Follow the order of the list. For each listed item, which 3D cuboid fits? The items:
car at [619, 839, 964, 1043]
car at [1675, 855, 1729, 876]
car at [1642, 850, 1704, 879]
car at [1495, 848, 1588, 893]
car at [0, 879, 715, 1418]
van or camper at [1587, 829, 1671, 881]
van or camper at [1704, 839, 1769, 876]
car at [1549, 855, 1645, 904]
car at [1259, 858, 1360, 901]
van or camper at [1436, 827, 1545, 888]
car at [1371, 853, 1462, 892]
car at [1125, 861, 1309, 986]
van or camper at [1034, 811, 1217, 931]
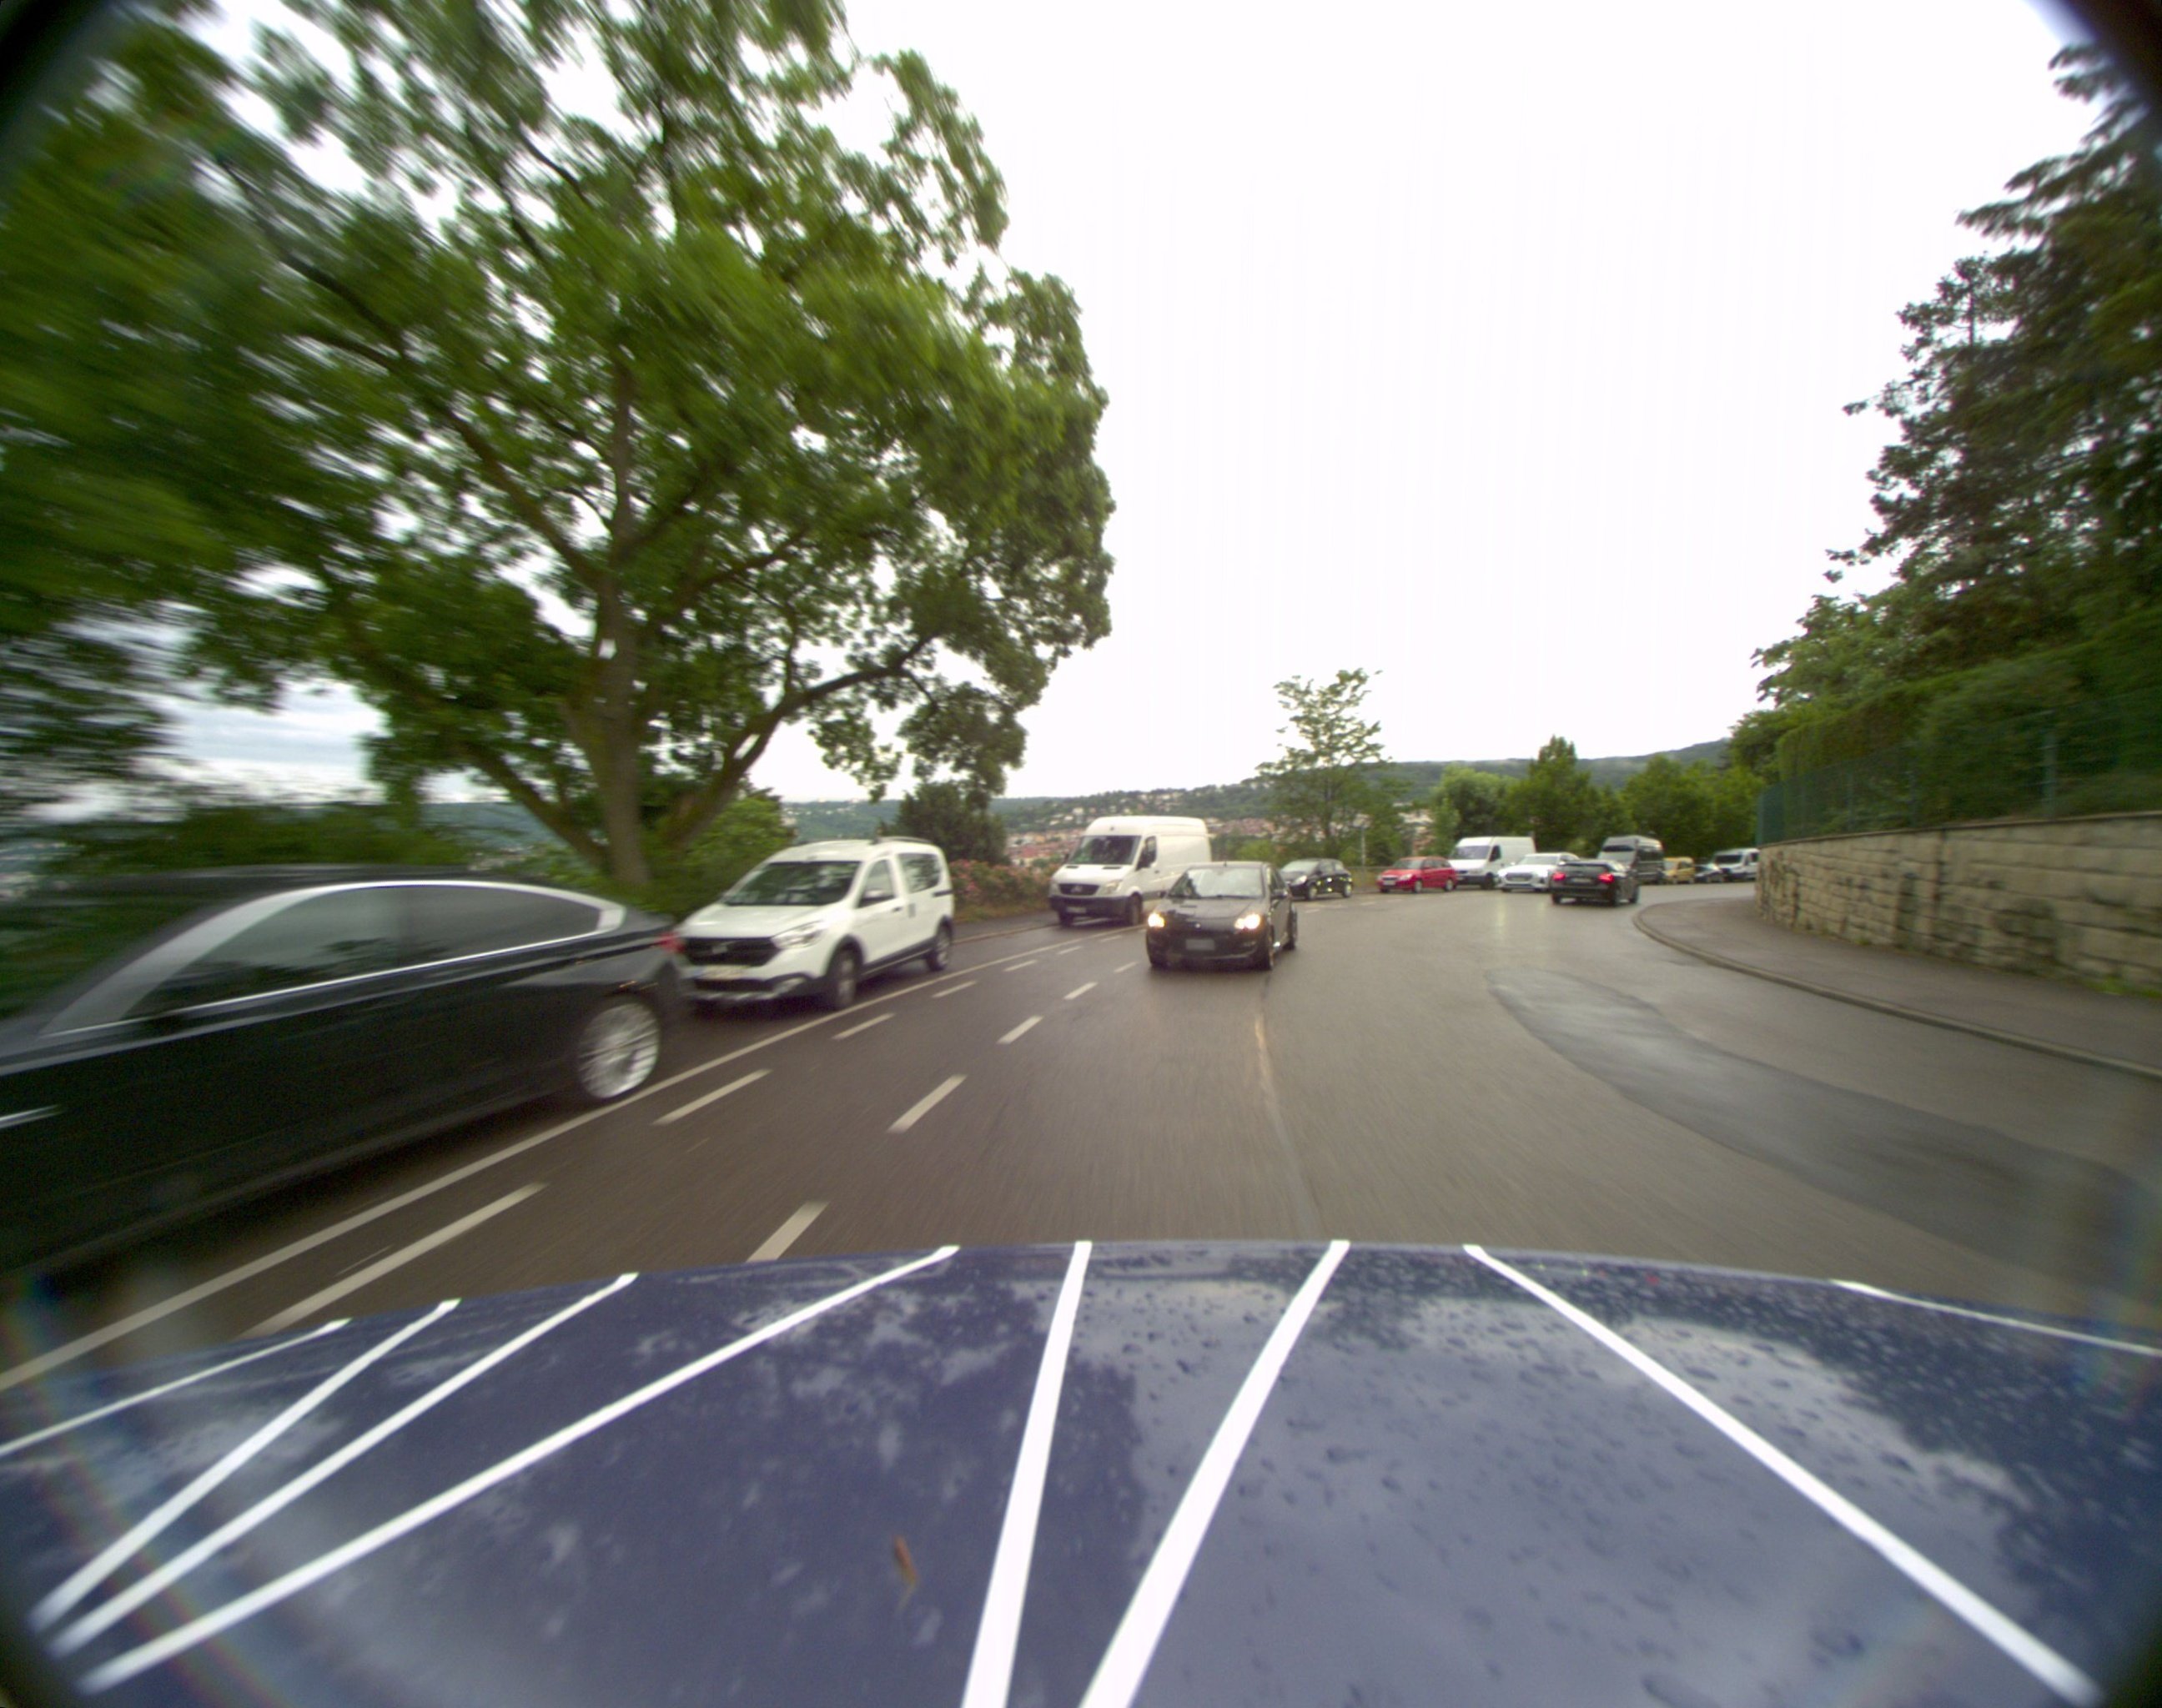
[{"bbox_3d":[-2.994,0.776,9.062,1.749,1.810,4.427,-1,0,11],"label":"car"},{"bbox_3d":[42.161,0.759,51.569,4.411,1.366,1.722,0,-2,-35],"label":"car"},{"bbox_3d":[37.486,0.677,48.091,4.411,1.738,1.722,0,-2,-33],"label":"car"},{"bbox_3d":[19.057,0.608,31.331,2.186,1.698,4.893,-1,0,45],"label":"car"},{"bbox_3d":[-4.081,0.978,3.378,1.863,1.533,4.898,-1,0,10],"label":"car"},{"bbox_3d":[32.026,0.083,44.379,5.738,2.892,2.126,0,-1,-34],"label":"van or camper"},{"bbox_3d":[47.679,0.311,55.243,5.626,2.539,2.166,0,-2,-35],"label":"van or camper"},{"bbox_3d":[16.756,0.774,24.600,4.123,1.426,1.788,0,1,-45],"label":"car"},{"bbox_3d":[8.278,0.886,27.391,3.956,1.435,1.696,0,-2,-43],"label":"car"},{"bbox_3d":[19.054,0.167,35.261,5.606,2.645,2.075,0,-1,-34],"label":"van or camper"},{"bbox_3d":[14.142,0.736,31.913,4.223,1.531,1.621,0,-1,-37],"label":"car"},{"bbox_3d":[2.283,0.879,11.659,1.780,1.477,4.413,-1,0,24],"label":"car"},{"bbox_3d":[1.360,0.355,19.274,2.067,2.565,5.899,1,1,32],"label":"van or camper"}]
